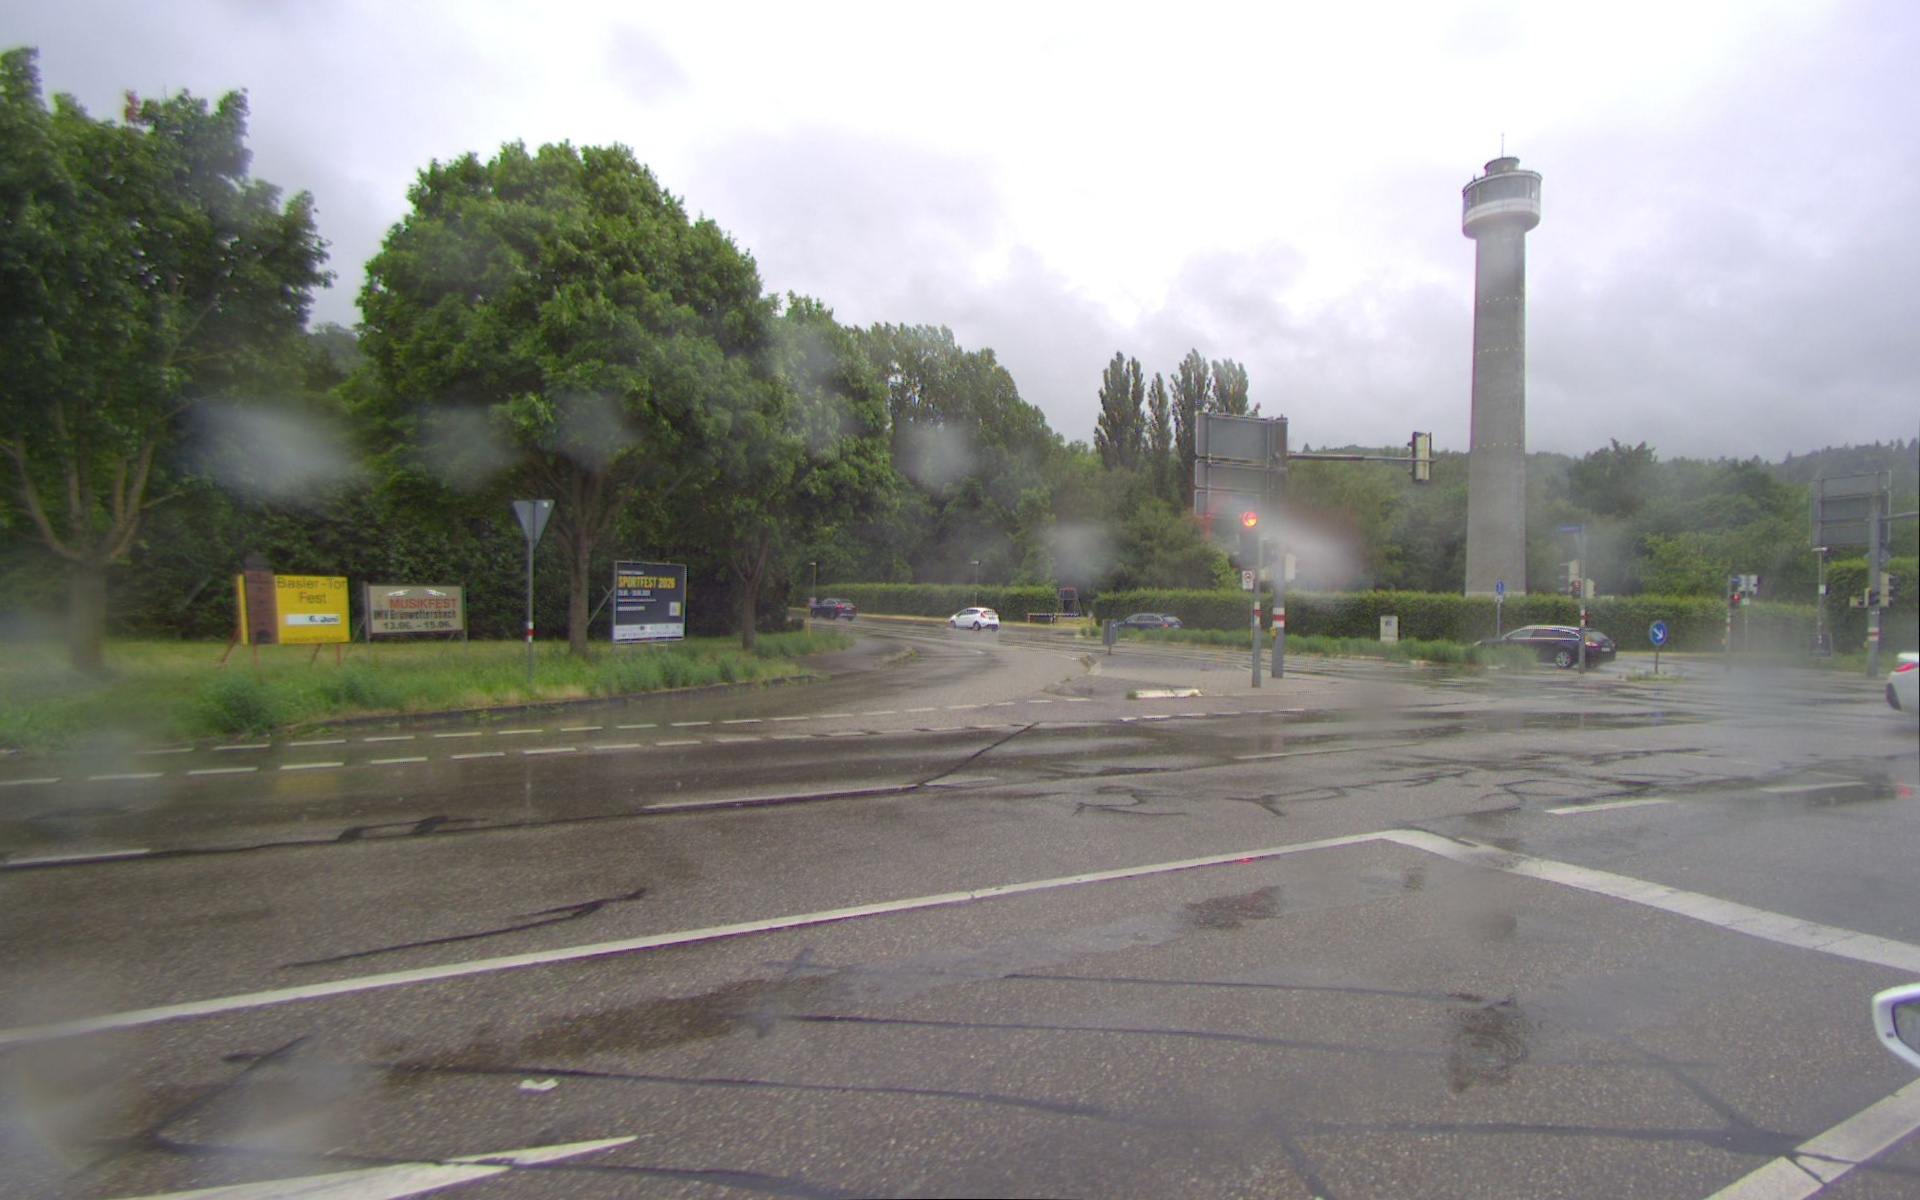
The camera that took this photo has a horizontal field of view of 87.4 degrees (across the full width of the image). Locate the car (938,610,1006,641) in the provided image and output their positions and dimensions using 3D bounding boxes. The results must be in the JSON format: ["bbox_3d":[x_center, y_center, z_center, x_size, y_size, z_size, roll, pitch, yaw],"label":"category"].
[{"bbox_3d":[0.745,1.678,65.985,1.900,1.941,4.629,1,-1,-40],"label":"car"}]

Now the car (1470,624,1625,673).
[{"bbox_3d":[21.077,1.701,36.246,1.798,1.574,4.654,1,-1,-26],"label":"car"}]

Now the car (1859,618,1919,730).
[{"bbox_3d":[14.960,1.039,12.866,1.773,1.574,4.873,1,-1,-21],"label":"car"}]

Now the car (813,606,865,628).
[{"bbox_3d":[-9.531,1.352,78.748,1.808,1.661,4.630,1,-1,-40],"label":"car"}]

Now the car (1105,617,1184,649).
[{"bbox_3d":[9.897,1.757,54.198,1.798,1.574,4.654,1,-1,-26],"label":"car"}]
